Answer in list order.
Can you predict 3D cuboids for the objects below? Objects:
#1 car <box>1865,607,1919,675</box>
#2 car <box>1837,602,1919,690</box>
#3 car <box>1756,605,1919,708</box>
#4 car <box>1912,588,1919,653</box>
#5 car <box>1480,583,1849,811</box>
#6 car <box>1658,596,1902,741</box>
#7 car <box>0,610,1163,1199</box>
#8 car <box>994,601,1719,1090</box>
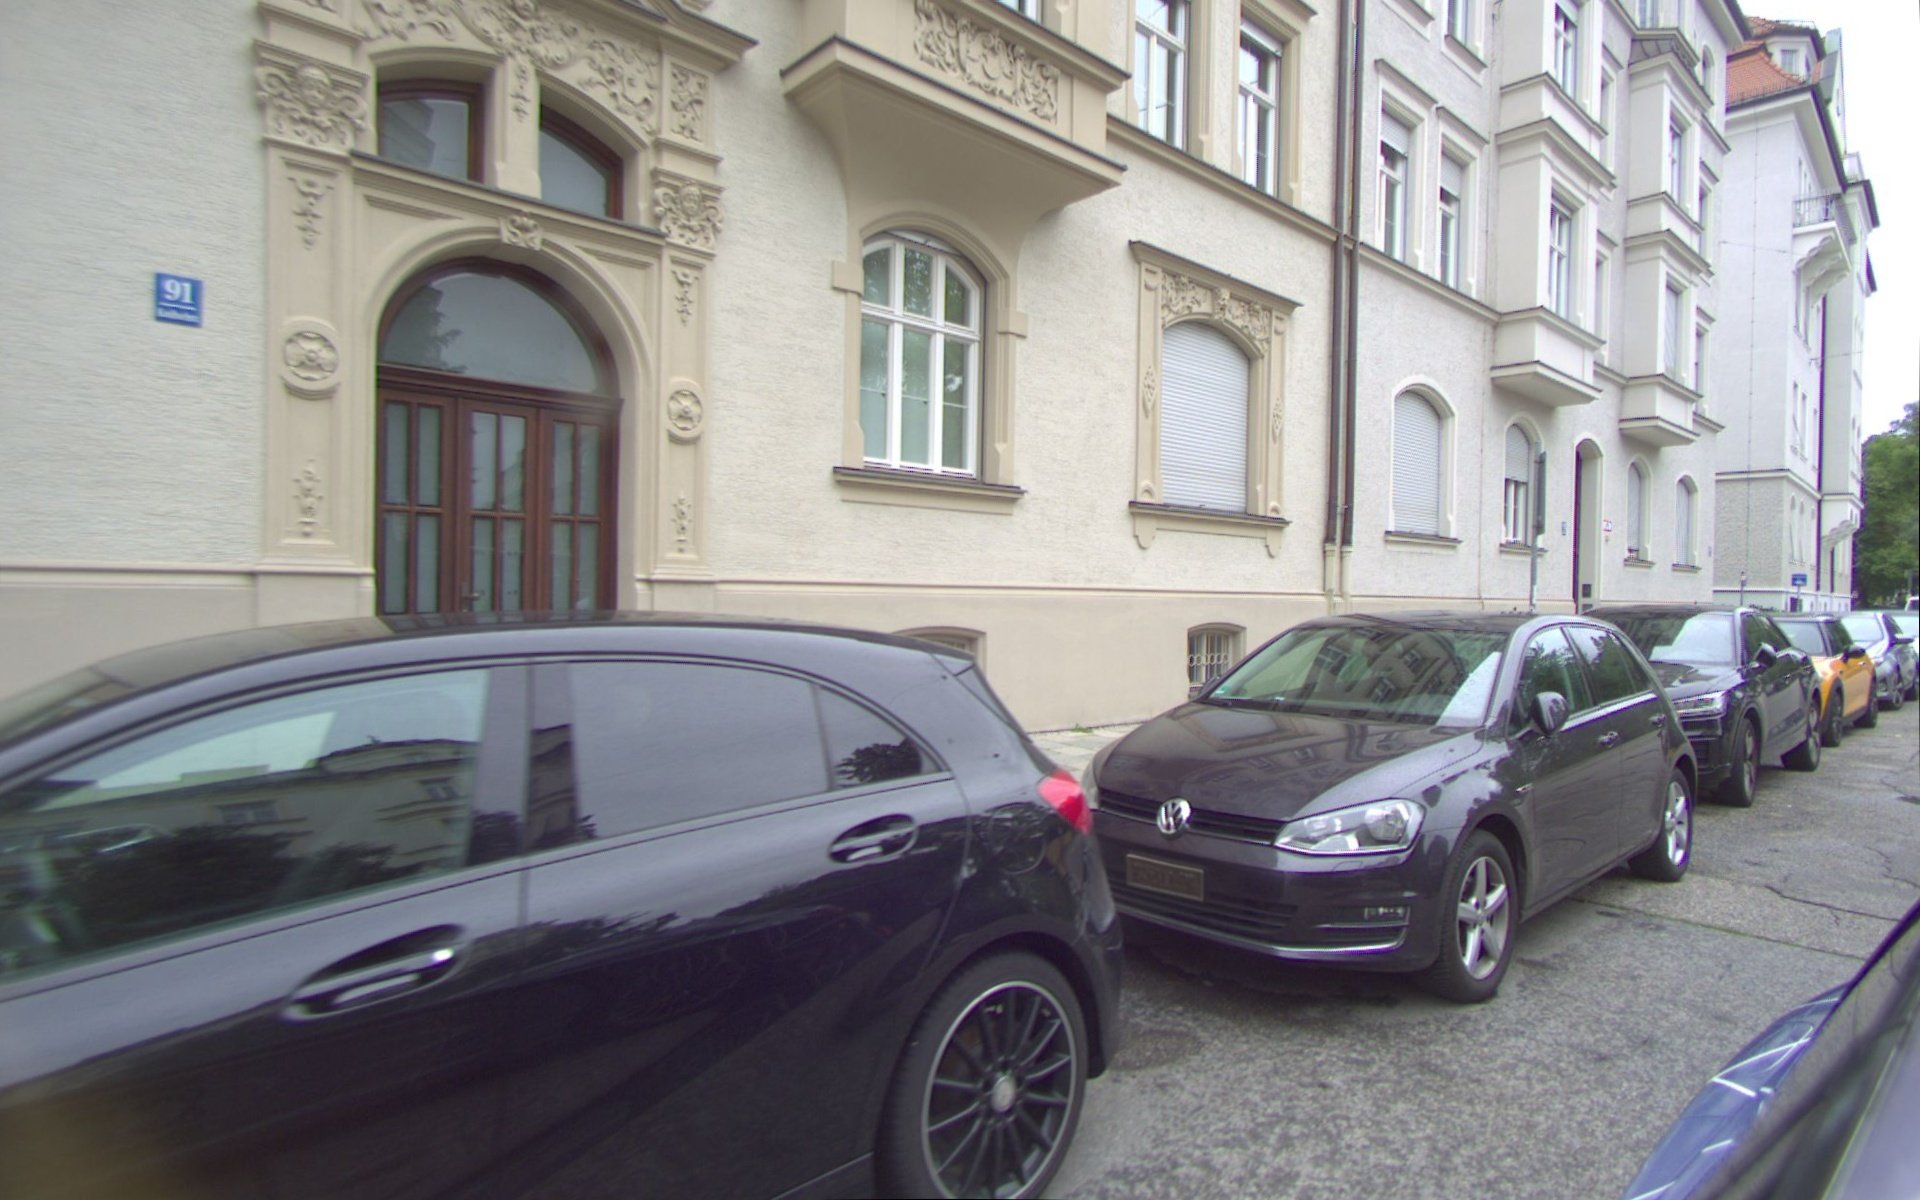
[{"bbox_3d":[21.298,0.867,22.328,4.017,1.408,1.712,1,0,-44],"label":"car"},{"bbox_3d":[17.698,0.801,18.857,4.017,1.489,1.712,1,0,-44],"label":"car"},{"bbox_3d":[14.122,0.801,16.010,3.930,1.408,1.713,1,0,-41],"label":"car"},{"bbox_3d":[30.804,0.637,31.301,4.017,1.962,1.791,1,0,-44],"label":"car"},{"bbox_3d":[6.277,0.688,8.855,3.888,1.535,1.746,2,0,-41],"label":"car"},{"bbox_3d":[10.055,0.728,12.334,3.533,1.458,1.660,1,1,-40],"label":"car"},{"bbox_3d":[-1.555,0.758,1.936,3.951,1.416,1.745,-1,0,-40],"label":"car"},{"bbox_3d":[2.167,0.744,4.937,3.929,1.435,1.645,0,0,-41],"label":"car"}]
